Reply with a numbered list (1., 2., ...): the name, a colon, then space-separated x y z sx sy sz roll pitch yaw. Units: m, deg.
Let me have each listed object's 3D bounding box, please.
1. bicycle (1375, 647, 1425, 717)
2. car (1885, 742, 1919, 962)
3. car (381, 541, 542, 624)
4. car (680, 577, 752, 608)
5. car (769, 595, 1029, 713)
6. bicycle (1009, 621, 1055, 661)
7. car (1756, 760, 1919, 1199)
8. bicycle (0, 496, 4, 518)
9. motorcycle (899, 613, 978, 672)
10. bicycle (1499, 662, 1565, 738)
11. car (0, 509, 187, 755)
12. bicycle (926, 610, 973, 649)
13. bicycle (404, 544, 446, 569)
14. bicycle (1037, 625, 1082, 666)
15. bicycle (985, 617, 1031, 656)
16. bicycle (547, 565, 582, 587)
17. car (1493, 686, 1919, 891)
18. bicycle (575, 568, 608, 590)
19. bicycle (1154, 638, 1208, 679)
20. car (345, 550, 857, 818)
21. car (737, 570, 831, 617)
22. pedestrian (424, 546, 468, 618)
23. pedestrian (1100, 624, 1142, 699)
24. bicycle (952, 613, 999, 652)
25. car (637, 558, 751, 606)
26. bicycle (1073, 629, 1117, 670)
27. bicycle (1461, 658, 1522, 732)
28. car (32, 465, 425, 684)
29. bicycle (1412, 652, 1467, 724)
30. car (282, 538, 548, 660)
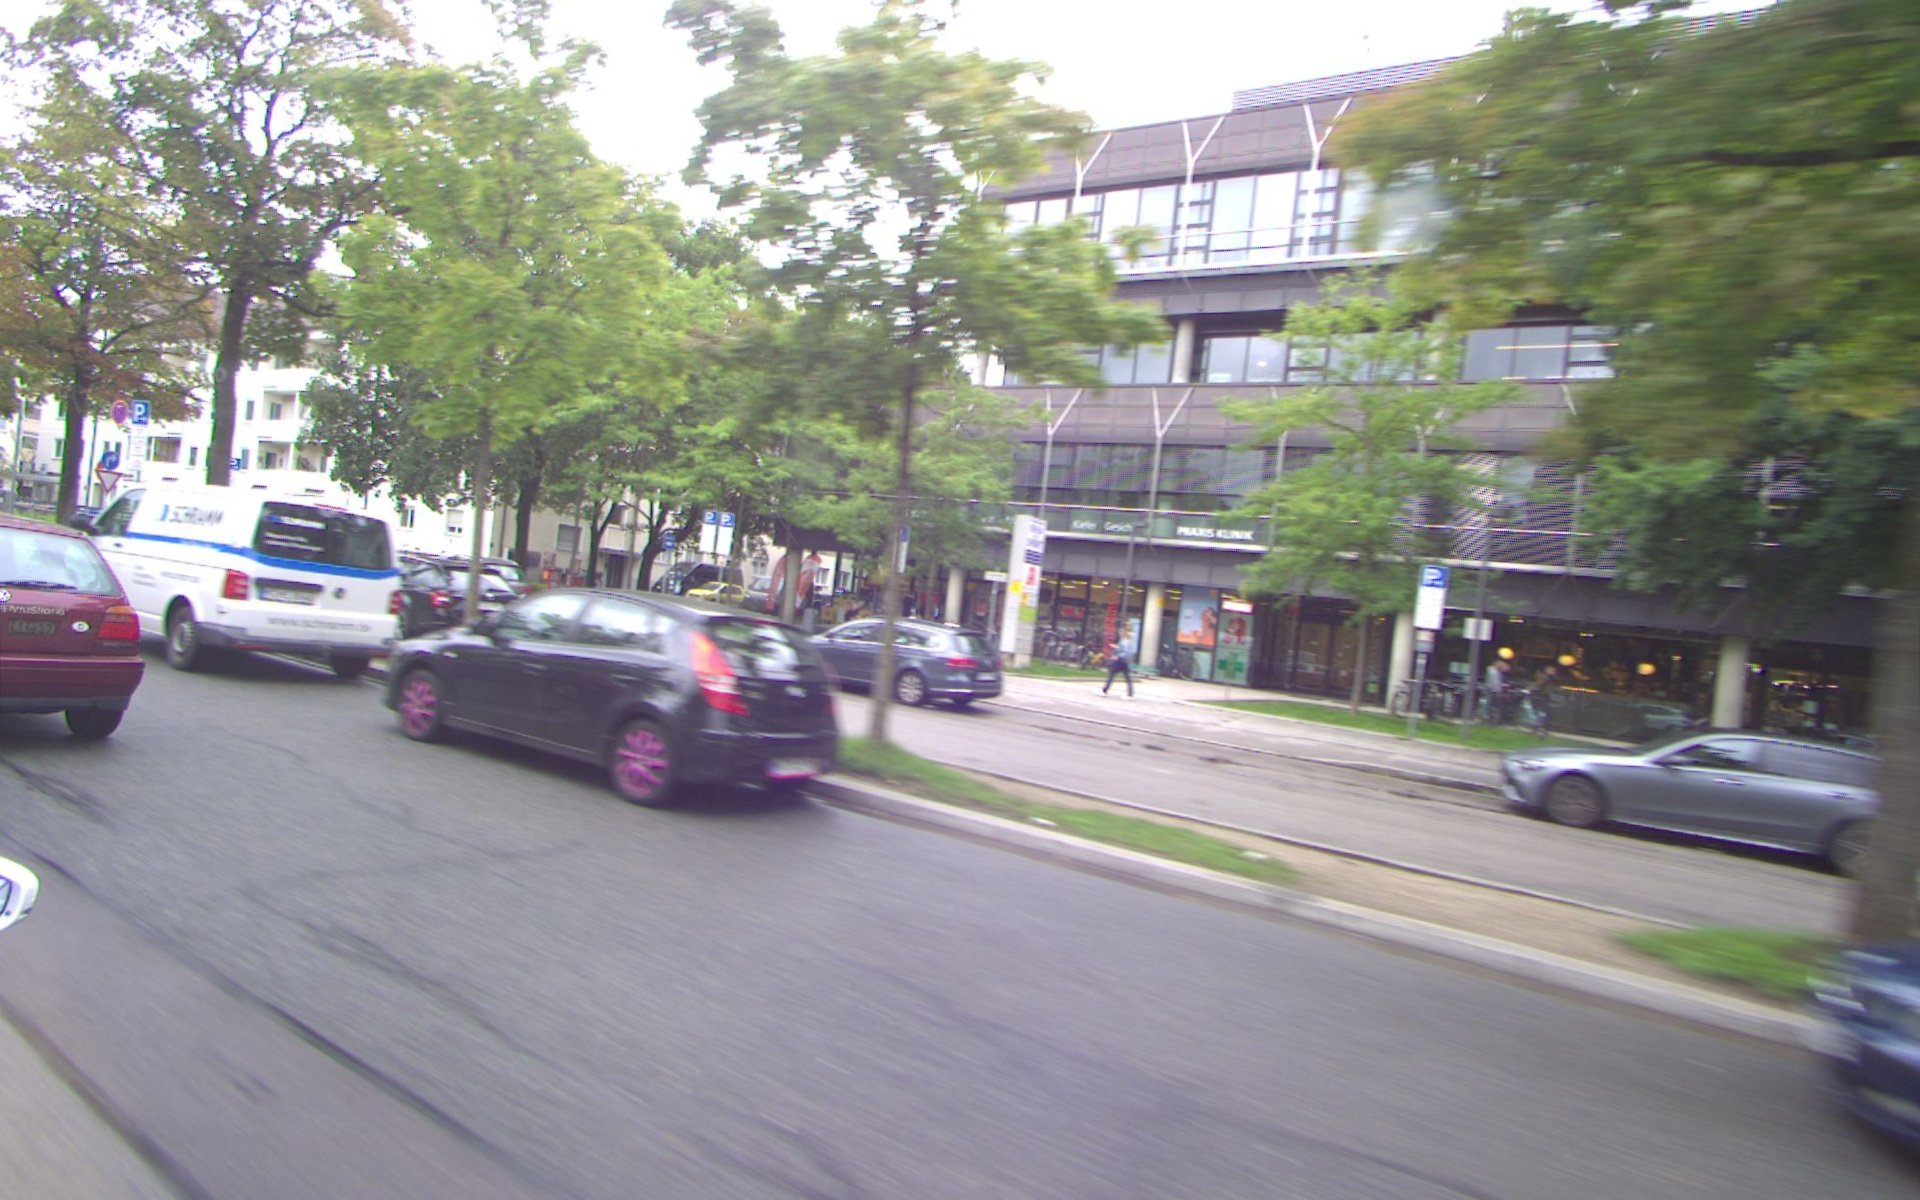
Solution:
1. bicycle: 11.170 2.041 25.608 0.637 1.642 2.316 7 0 15
2. car: 8.428 1.964 6.027 3.810 1.537 1.655 7 -2 28
3. car: -12.925 -0.476 26.018 4.130 1.654 1.823 7 0 34
4. car: -12.900 -0.393 53.386 1.558 1.216 3.744 8 0 28
5. car: -1.194 0.955 18.723 4.528 1.550 1.823 7 0 33
6. bicycle: 2.294 1.315 31.744 0.448 1.134 2.078 7 0 31
7. car: 5.243 1.585 3.121 4.012 1.391 1.686 7 -2 30
8. bicycle: -46.652 -4.523 47.663 0.425 1.041 1.881 6 0 26
9. motorcycle: -0.551 1.031 24.981 1.915 1.247 0.472 6 3 31
10. bicycle: 13.753 2.364 24.251 0.637 1.642 2.316 7 0 15
11. car: -7.125 0.005 6.718 3.853 1.399 1.686 7 -2 31
12. bicycle: -0.328 0.993 33.538 0.448 1.134 2.078 7 0 31
13. bicycle: -24.583 -1.990 46.241 0.447 0.983 1.695 7 0 28
14. bicycle: 3.139 1.442 31.485 0.448 1.134 2.078 7 0 31
15. bicycle: 1.581 1.205 32.625 0.448 1.134 2.078 7 0 31
16. bicycle: -20.273 -1.217 51.596 0.447 0.983 1.695 7 0 28
17. car: 9.352 2.233 12.635 4.522 1.550 1.825 8 1 28
18. bicycle: -19.467 -1.120 53.177 0.447 0.983 1.695 7 0 28
19. bicycle: 7.271 1.925 33.119 1.527 1.134 0.455 7 0 28
20. car: -3.047 0.591 8.375 3.973 1.465 1.700 7 -2 29
21. car: -9.400 -0.292 54.357 2.301 2.078 6.112 7 0 17
22. pedestrian: -12.445 -0.437 24.345 0.654 1.614 0.746 6 1 -40
23. pedestrian: 3.550 1.336 22.139 0.620 1.562 0.659 6 2 24
24. bicycle: 0.518 1.087 32.933 0.448 1.134 2.078 7 0 31
25. car: -14.672 -0.953 55.979 2.306 2.024 6.097 7 0 31
26. bicycle: 4.175 1.532 30.913 0.448 1.134 2.078 7 0 31
27. bicycle: 13.035 2.295 24.758 0.637 1.642 2.316 7 0 15
28. car: -8.721 -0.353 11.868 4.851 1.950 1.885 7 -2 32
29. bicycle: 12.002 2.170 25.241 0.637 1.642 2.316 7 0 15
30. car: -9.224 -0.048 16.920 4.613 1.449 1.731 6 -2 31
